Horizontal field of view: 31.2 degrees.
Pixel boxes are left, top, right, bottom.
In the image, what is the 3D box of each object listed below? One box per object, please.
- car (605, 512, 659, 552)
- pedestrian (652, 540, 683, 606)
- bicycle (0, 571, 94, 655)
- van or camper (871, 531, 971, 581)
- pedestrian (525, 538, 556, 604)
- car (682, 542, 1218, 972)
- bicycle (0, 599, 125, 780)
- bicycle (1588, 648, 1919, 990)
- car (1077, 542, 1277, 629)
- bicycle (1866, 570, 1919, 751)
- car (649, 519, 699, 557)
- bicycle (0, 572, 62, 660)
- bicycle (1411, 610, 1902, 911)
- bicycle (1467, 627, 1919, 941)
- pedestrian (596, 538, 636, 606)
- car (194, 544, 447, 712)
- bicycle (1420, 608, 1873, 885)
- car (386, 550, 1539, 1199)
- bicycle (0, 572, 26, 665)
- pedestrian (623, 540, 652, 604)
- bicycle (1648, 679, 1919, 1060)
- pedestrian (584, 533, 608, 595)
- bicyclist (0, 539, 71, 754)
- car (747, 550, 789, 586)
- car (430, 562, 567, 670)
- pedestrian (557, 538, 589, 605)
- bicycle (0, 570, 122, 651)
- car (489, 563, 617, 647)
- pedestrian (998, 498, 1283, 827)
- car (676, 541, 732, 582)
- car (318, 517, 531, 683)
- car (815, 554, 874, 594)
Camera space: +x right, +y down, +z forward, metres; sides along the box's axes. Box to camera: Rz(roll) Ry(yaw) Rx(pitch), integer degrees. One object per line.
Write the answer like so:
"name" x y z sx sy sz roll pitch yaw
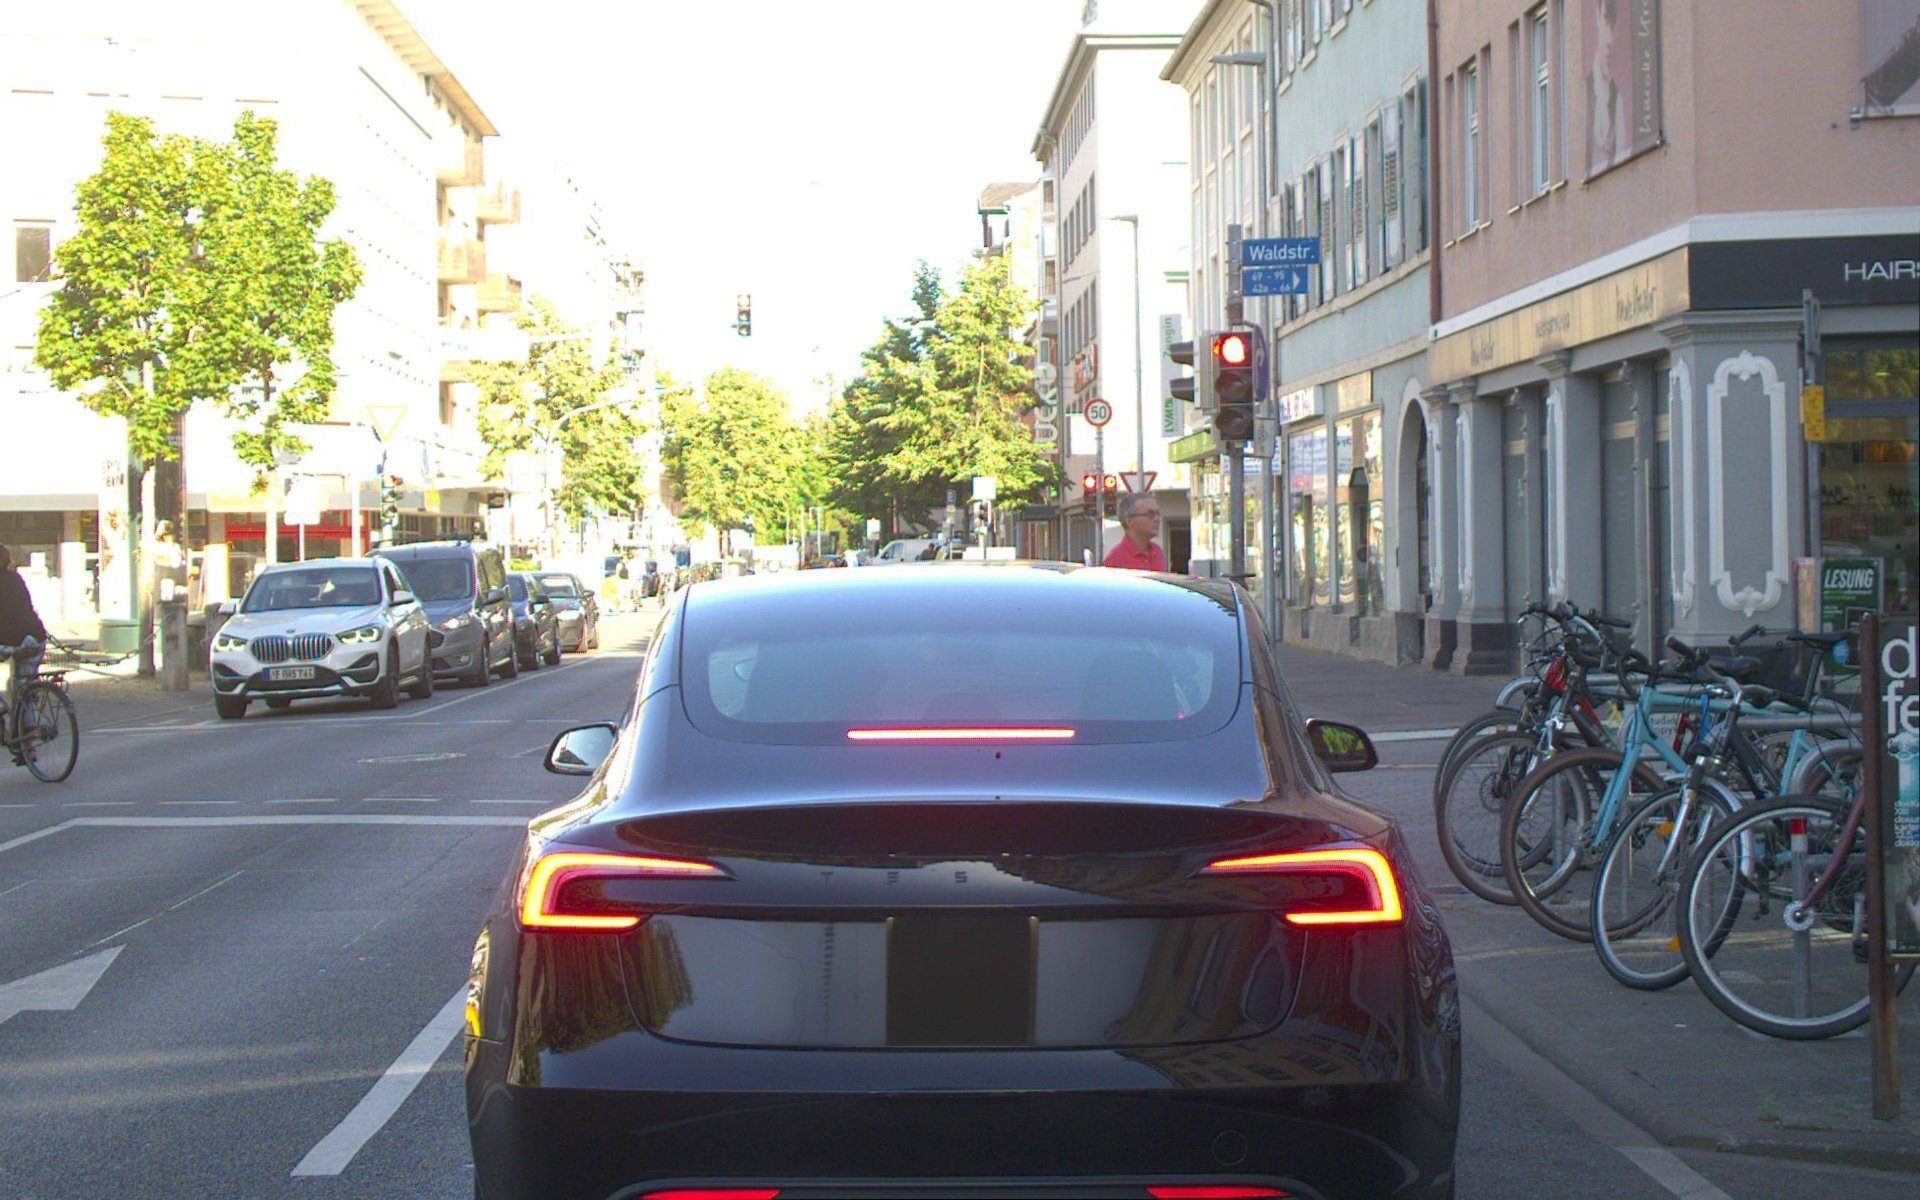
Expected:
"car" -17.114 -3.551 179.653 2.275 2.007 4.717 1 1 1
"pedestrian" -8.302 -0.774 97.555 0.774 1.861 1.009 1 0 -10
"bicycle" -14.531 0.188 52.152 2.542 1.247 0.943 1 0 -3
"van or camper" -1.891 -2.147 167.559 4.850 2.430 1.851 0 1 -1
"pedestrian" -11.825 -0.817 96.901 0.732 1.861 0.791 1 0 -17
"car" -0.059 0.525 14.209 1.850 1.476 4.452 1 1 -1
"bicycle" -6.828 0.655 24.205 1.998 1.219 0.628 -4 -2 34
"bicycle" 3.000 0.694 11.132 1.813 1.056 0.653 0 1 1
"car" 4.713 -0.328 74.686 3.992 1.861 1.698 0 1 -21
"bicycle" 6.874 0.361 22.141 1.955 1.154 0.575 -2 0 16
"car" -15.637 -3.372 188.292 2.275 2.007 4.717 1 1 1
"bicycle" -14.486 0.215 49.877 2.662 1.255 0.943 1 0 -3
"bicycle" 2.731 0.621 13.613 1.813 1.148 0.653 0 1 1
"bicycle" 2.801 0.658 12.539 1.813 1.098 0.653 0 1 1
"pedestrian" -9.460 -0.760 94.570 0.734 1.861 0.789 1 0 28
"car" -6.685 0.254 36.351 1.825 1.559 4.301 -4 1 -1
"bicycle" 2.923 0.613 14.747 1.813 1.148 0.653 0 1 1
"car" -0.024 0.630 7.784 1.850 1.442 4.452 1 1 -1
"bicycle" -14.484 0.234 47.558 2.875 1.266 0.943 1 0 -3
"pedestrian" -9.384 -0.815 100.017 0.694 1.861 0.910 1 0 -15
"bicycle" 3.026 0.761 10.061 1.882 1.040 0.653 -1 1 1
"pedestrian" -10.990 -1.081 103.890 0.695 1.861 0.659 1 0 -5
"bicyclist" -6.830 0.311 24.213 0.957 1.479 0.607 1 0 34
"car" -10.431 -1.757 187.145 2.132 1.963 4.134 0 1 -1
"car" -6.652 0.203 49.808 1.461 1.425 3.606 -4 1 -1
"pedestrian" -10.927 -0.807 97.085 0.732 1.861 0.791 1 0 -17
"bicycle" -14.692 0.161 54.576 2.542 1.247 0.943 1 0 -3
"car" -6.980 0.063 59.216 1.693 1.385 3.916 1 1 0
"pedestrian" 0.983 0.317 18.679 1.112 1.714 1.059 1 1 39
"car" -12.385 -1.884 166.463 2.414 1.963 4.678 0 1 -1
"car" -6.570 -0.037 42.674 1.945 1.940 4.820 0 1 -1
"car" -5.277 -1.197 156.670 2.034 1.782 4.007 0 1 -12
